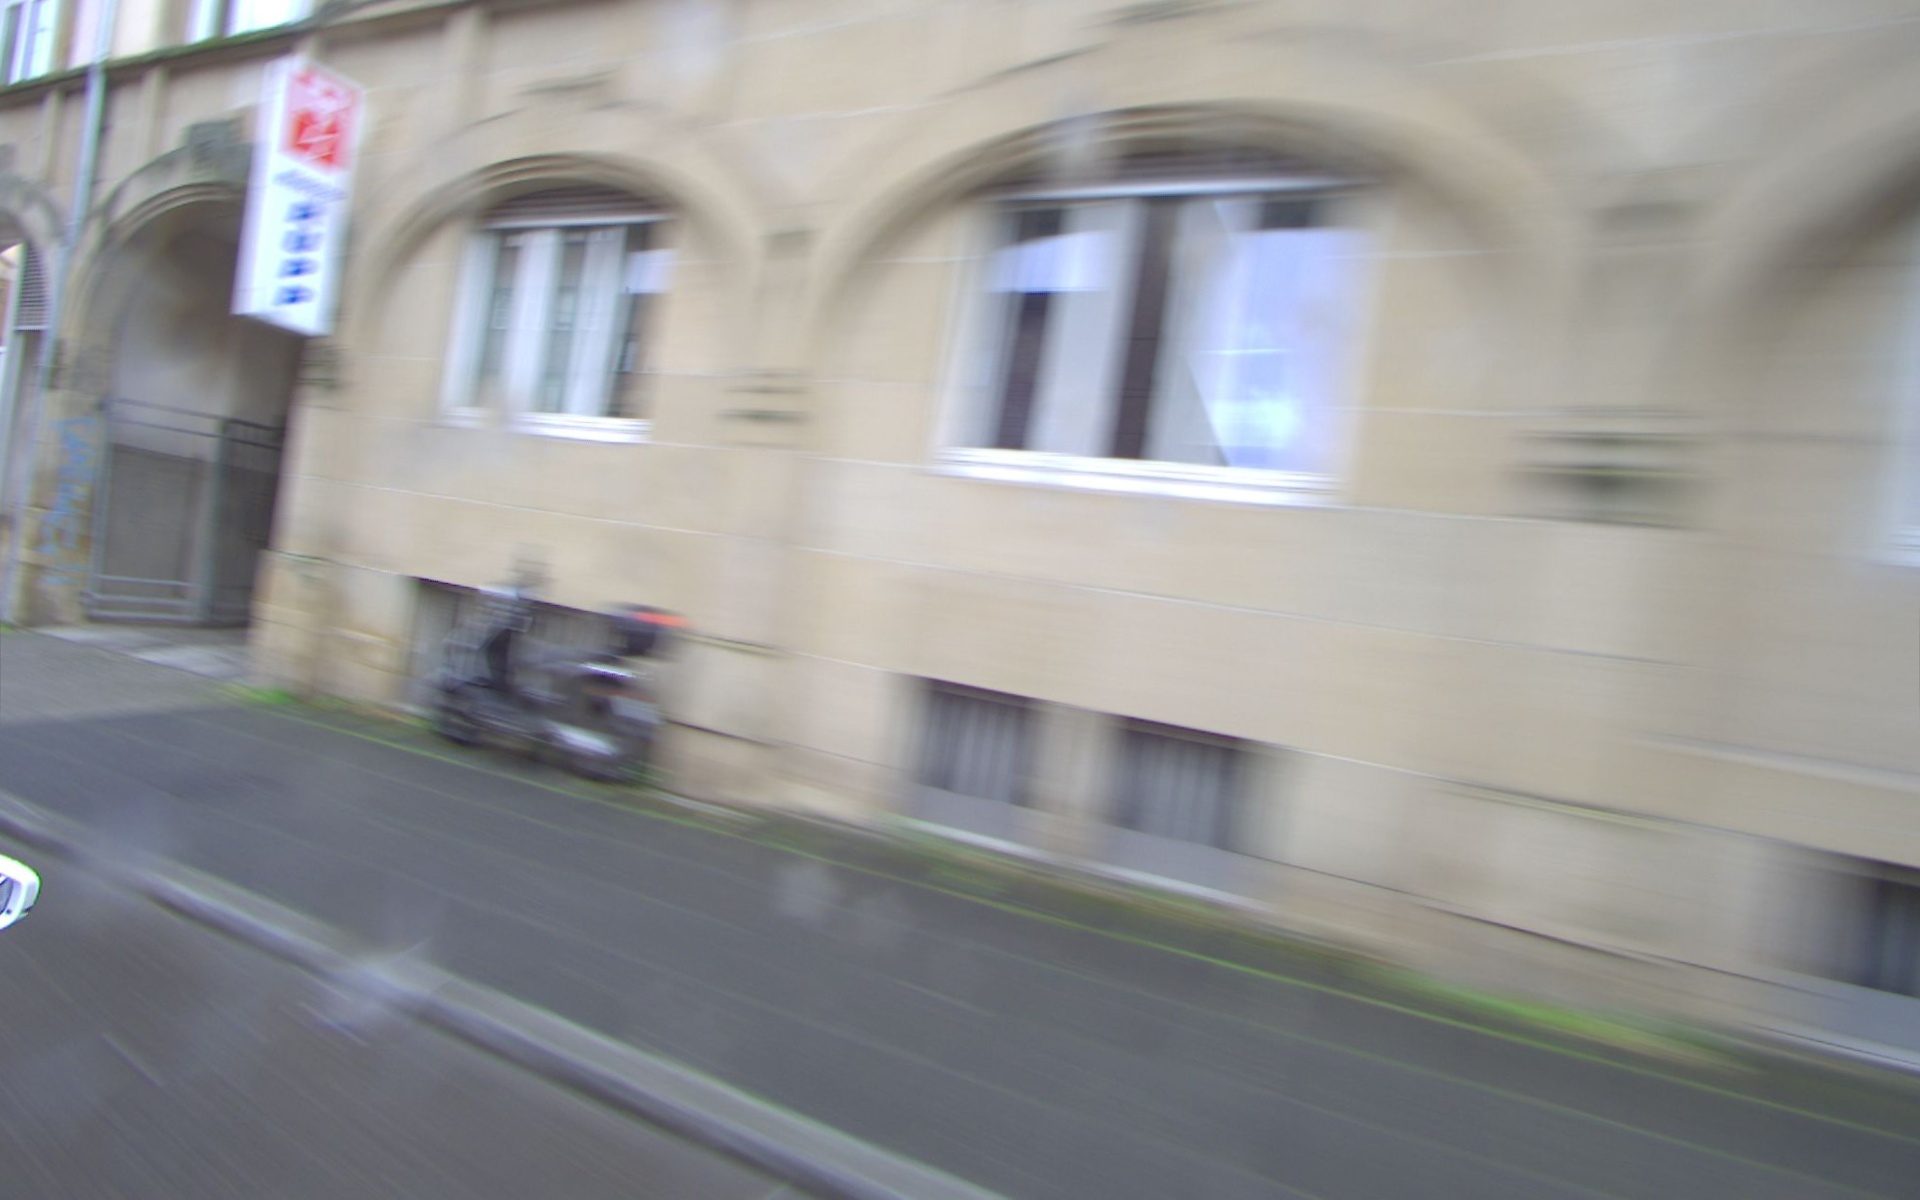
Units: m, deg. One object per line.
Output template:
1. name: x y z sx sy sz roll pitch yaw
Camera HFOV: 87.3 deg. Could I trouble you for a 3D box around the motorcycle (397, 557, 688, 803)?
1. motorcycle: -2.679 0.438 6.414 1.747 1.255 0.690 7 5 26
